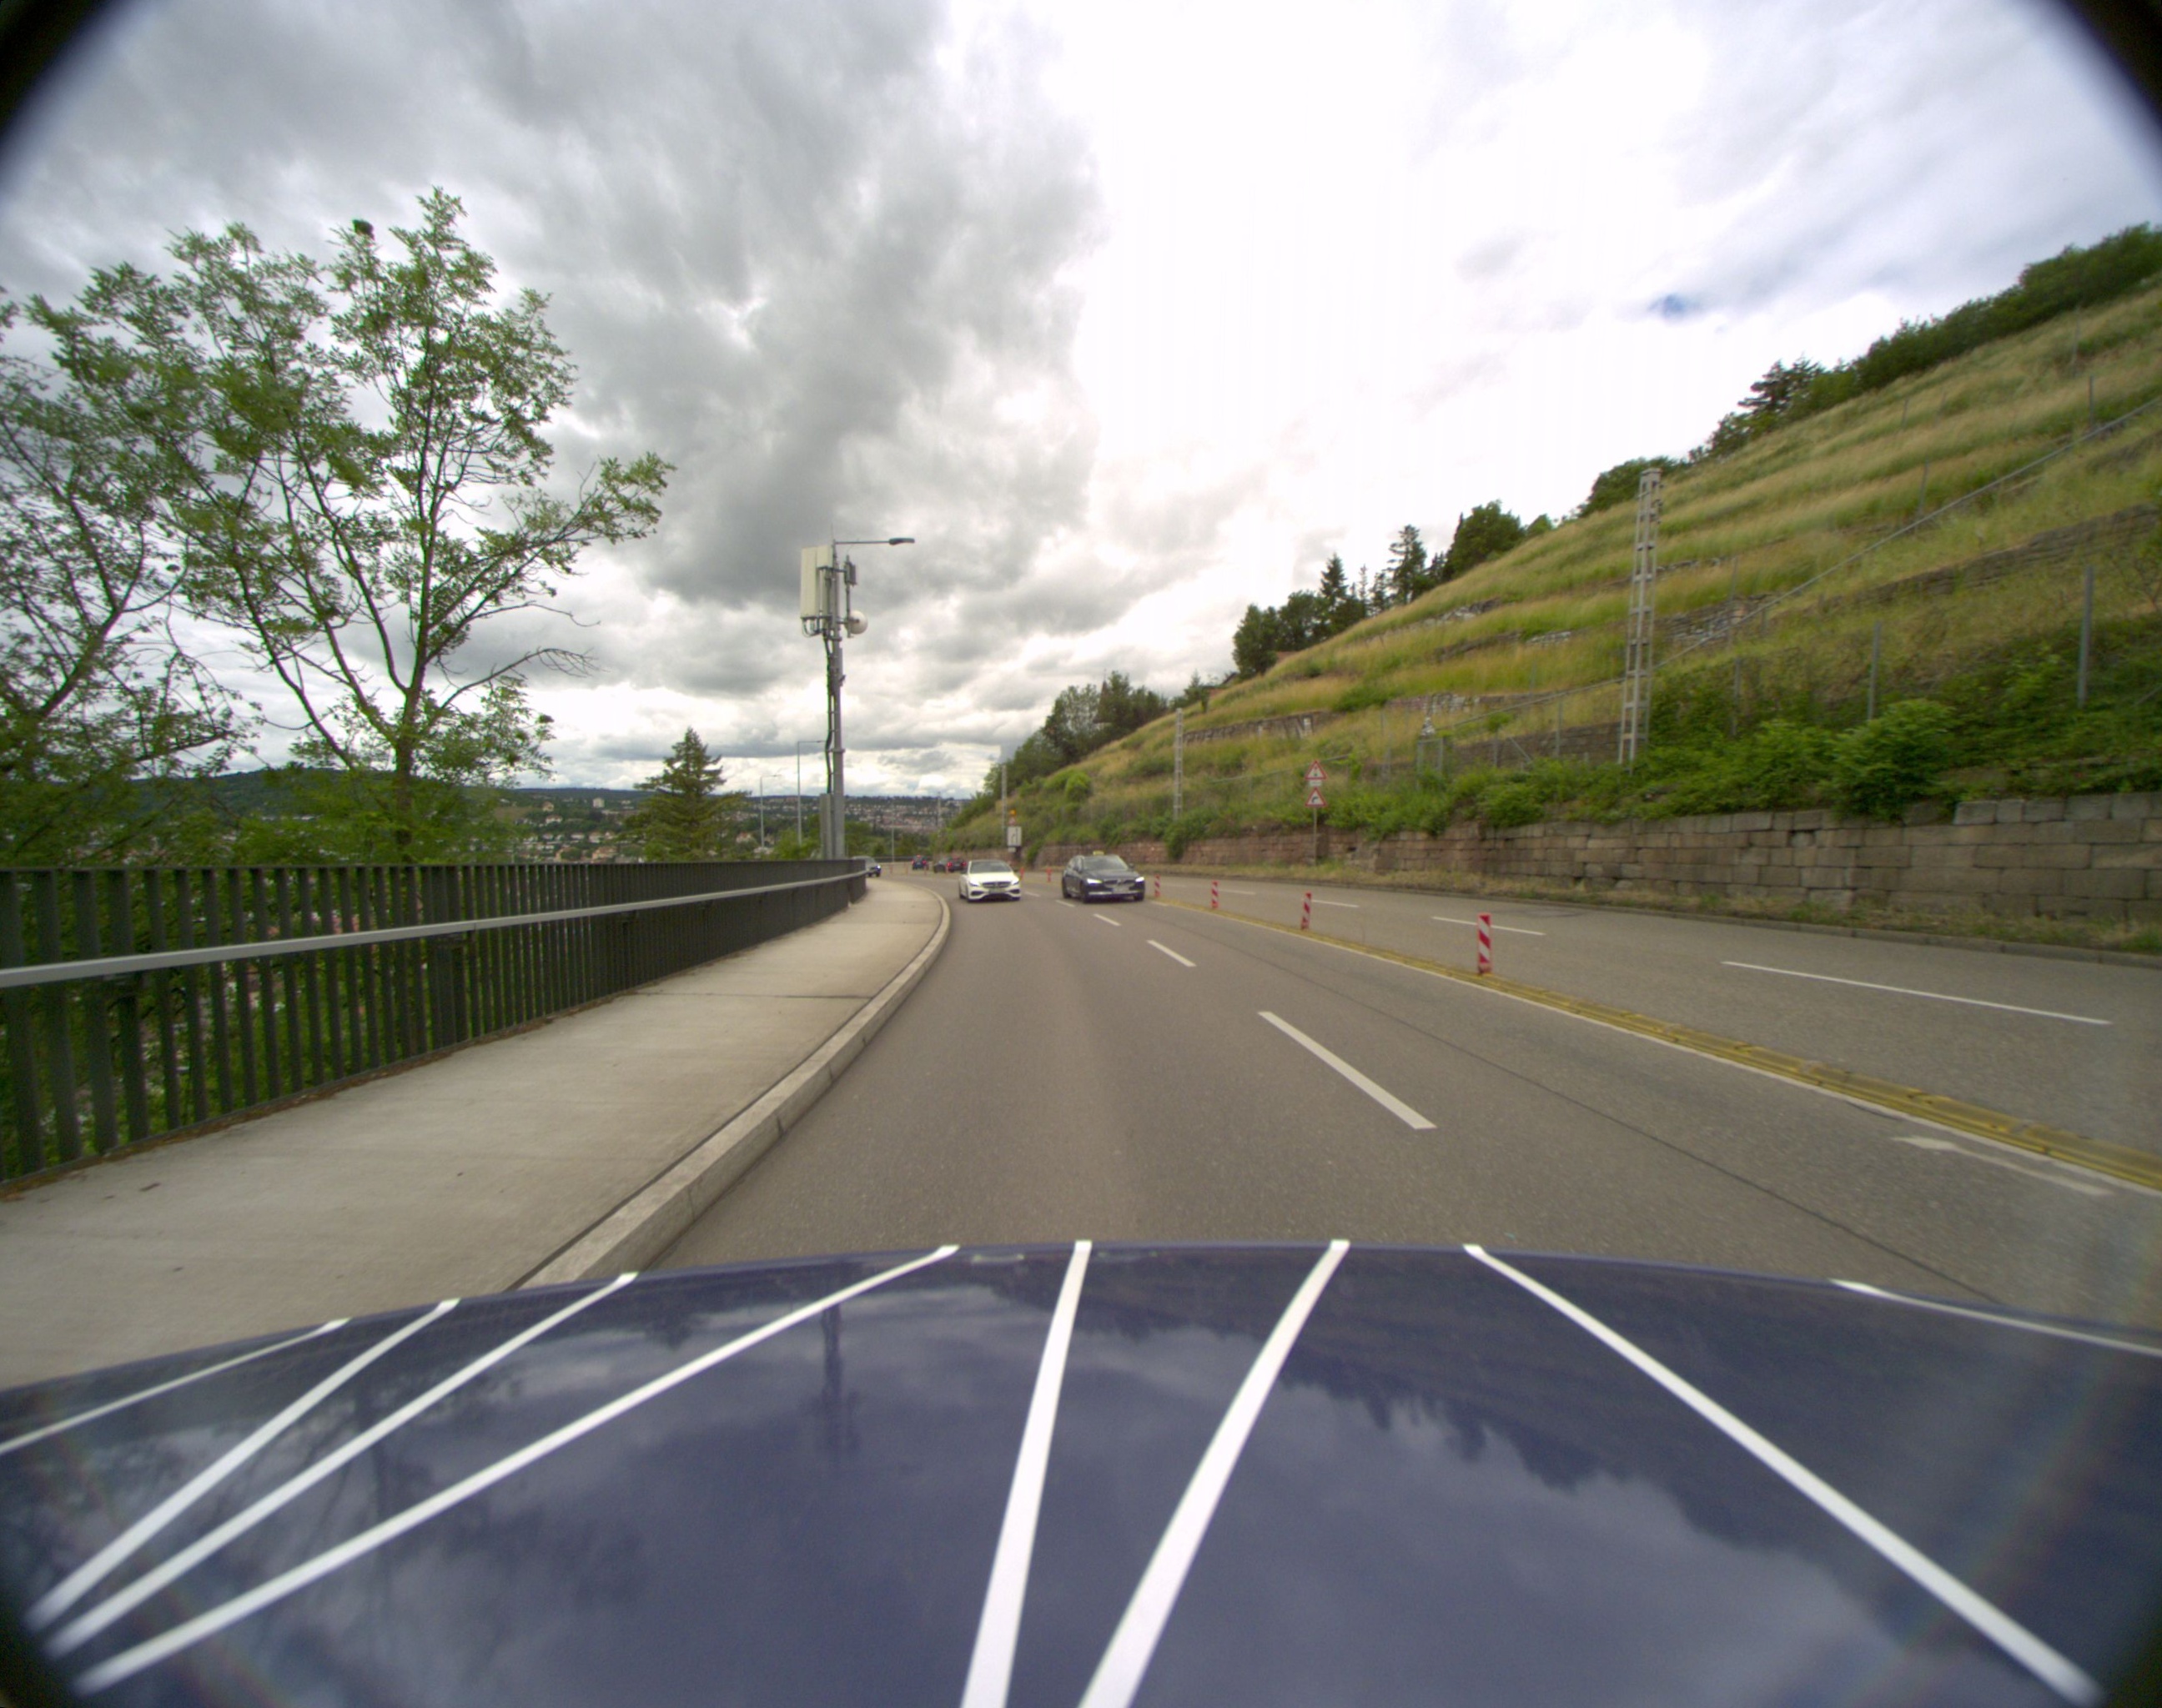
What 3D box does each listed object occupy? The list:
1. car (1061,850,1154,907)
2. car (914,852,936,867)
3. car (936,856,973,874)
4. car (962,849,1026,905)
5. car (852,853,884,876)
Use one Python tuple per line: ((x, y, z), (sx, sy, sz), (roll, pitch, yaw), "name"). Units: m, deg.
((0.713, 0.689, 23.849), (1.902, 1.485, 4.136), (-3, 1, -12), "car")
((-20.146, 0.660, 98.411), (1.856, 1.772, 4.732), (-3, 1, -2), "car")
((-11.397, 0.947, 68.228), (1.859, 1.405, 4.405), (-5, 2, -27), "car")
((-3.148, 0.757, 26.965), (2.000, 1.708, 3.997), (-3, 0, -9), "car")
((-16.774, 0.812, 59.750), (2.002, 1.661, 4.530), (-1, 0, -21), "car")
